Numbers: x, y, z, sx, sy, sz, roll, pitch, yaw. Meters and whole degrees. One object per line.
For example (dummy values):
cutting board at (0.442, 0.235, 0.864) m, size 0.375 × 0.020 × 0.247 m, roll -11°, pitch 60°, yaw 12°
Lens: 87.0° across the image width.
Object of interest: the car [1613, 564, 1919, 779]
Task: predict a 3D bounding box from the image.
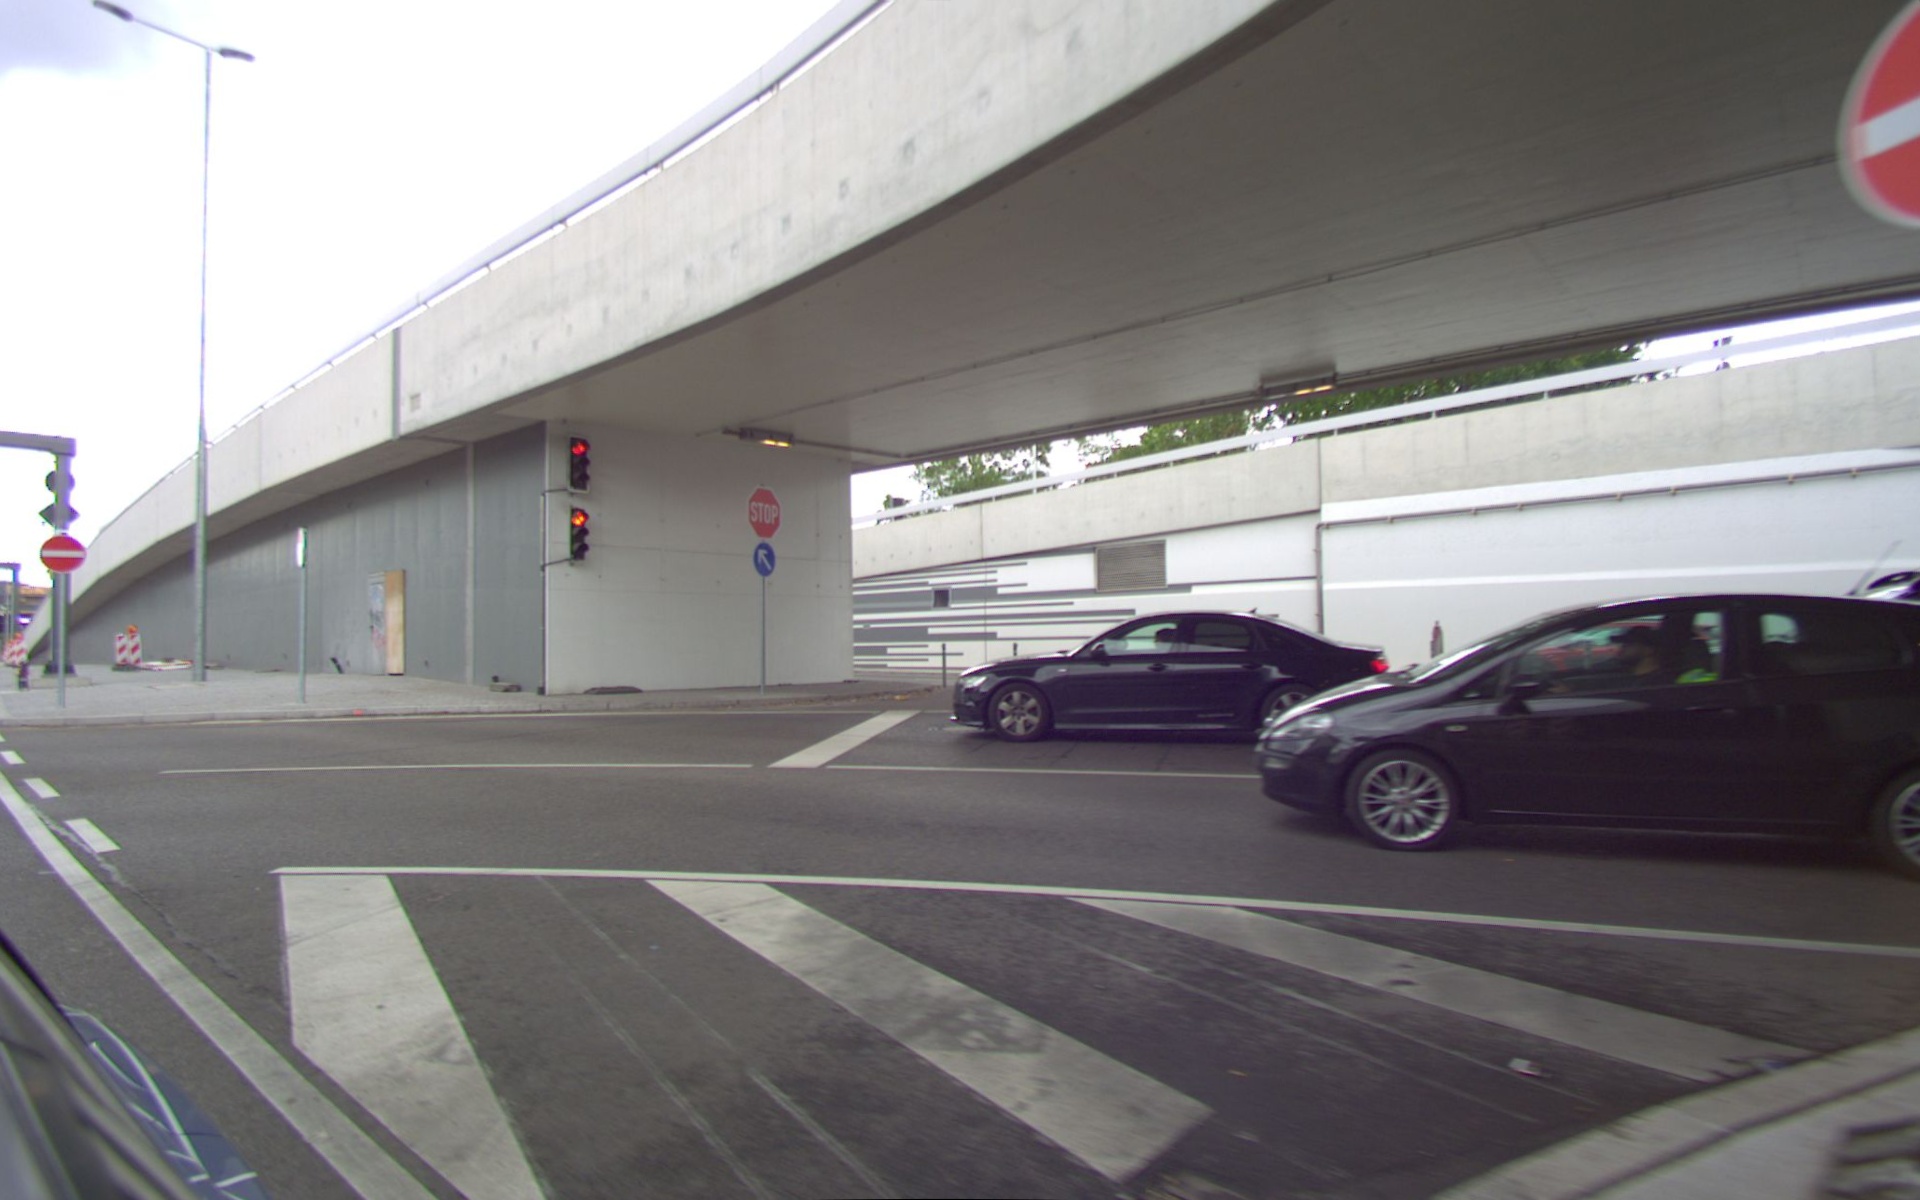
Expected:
car at (7.975, 0.509, 8.169) m, size 4.307 × 1.612 × 1.782 m, roll -3°, pitch -1°, yaw 28°

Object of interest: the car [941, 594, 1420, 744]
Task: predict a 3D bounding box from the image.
car at (2.337, 0.752, 11.321) m, size 4.797 × 1.454 × 1.848 m, roll -1°, pitch -2°, yaw 14°

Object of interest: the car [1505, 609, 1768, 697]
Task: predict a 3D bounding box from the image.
car at (12.948, 0.993, 19.524) m, size 3.999 × 1.525 × 1.628 m, roll -2°, pitch -2°, yaw 42°

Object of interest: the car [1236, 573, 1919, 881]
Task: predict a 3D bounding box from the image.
car at (3.856, 0.661, 5.978) m, size 4.086 × 1.452 × 1.657 m, roll -3°, pitch -2°, yaw 23°
